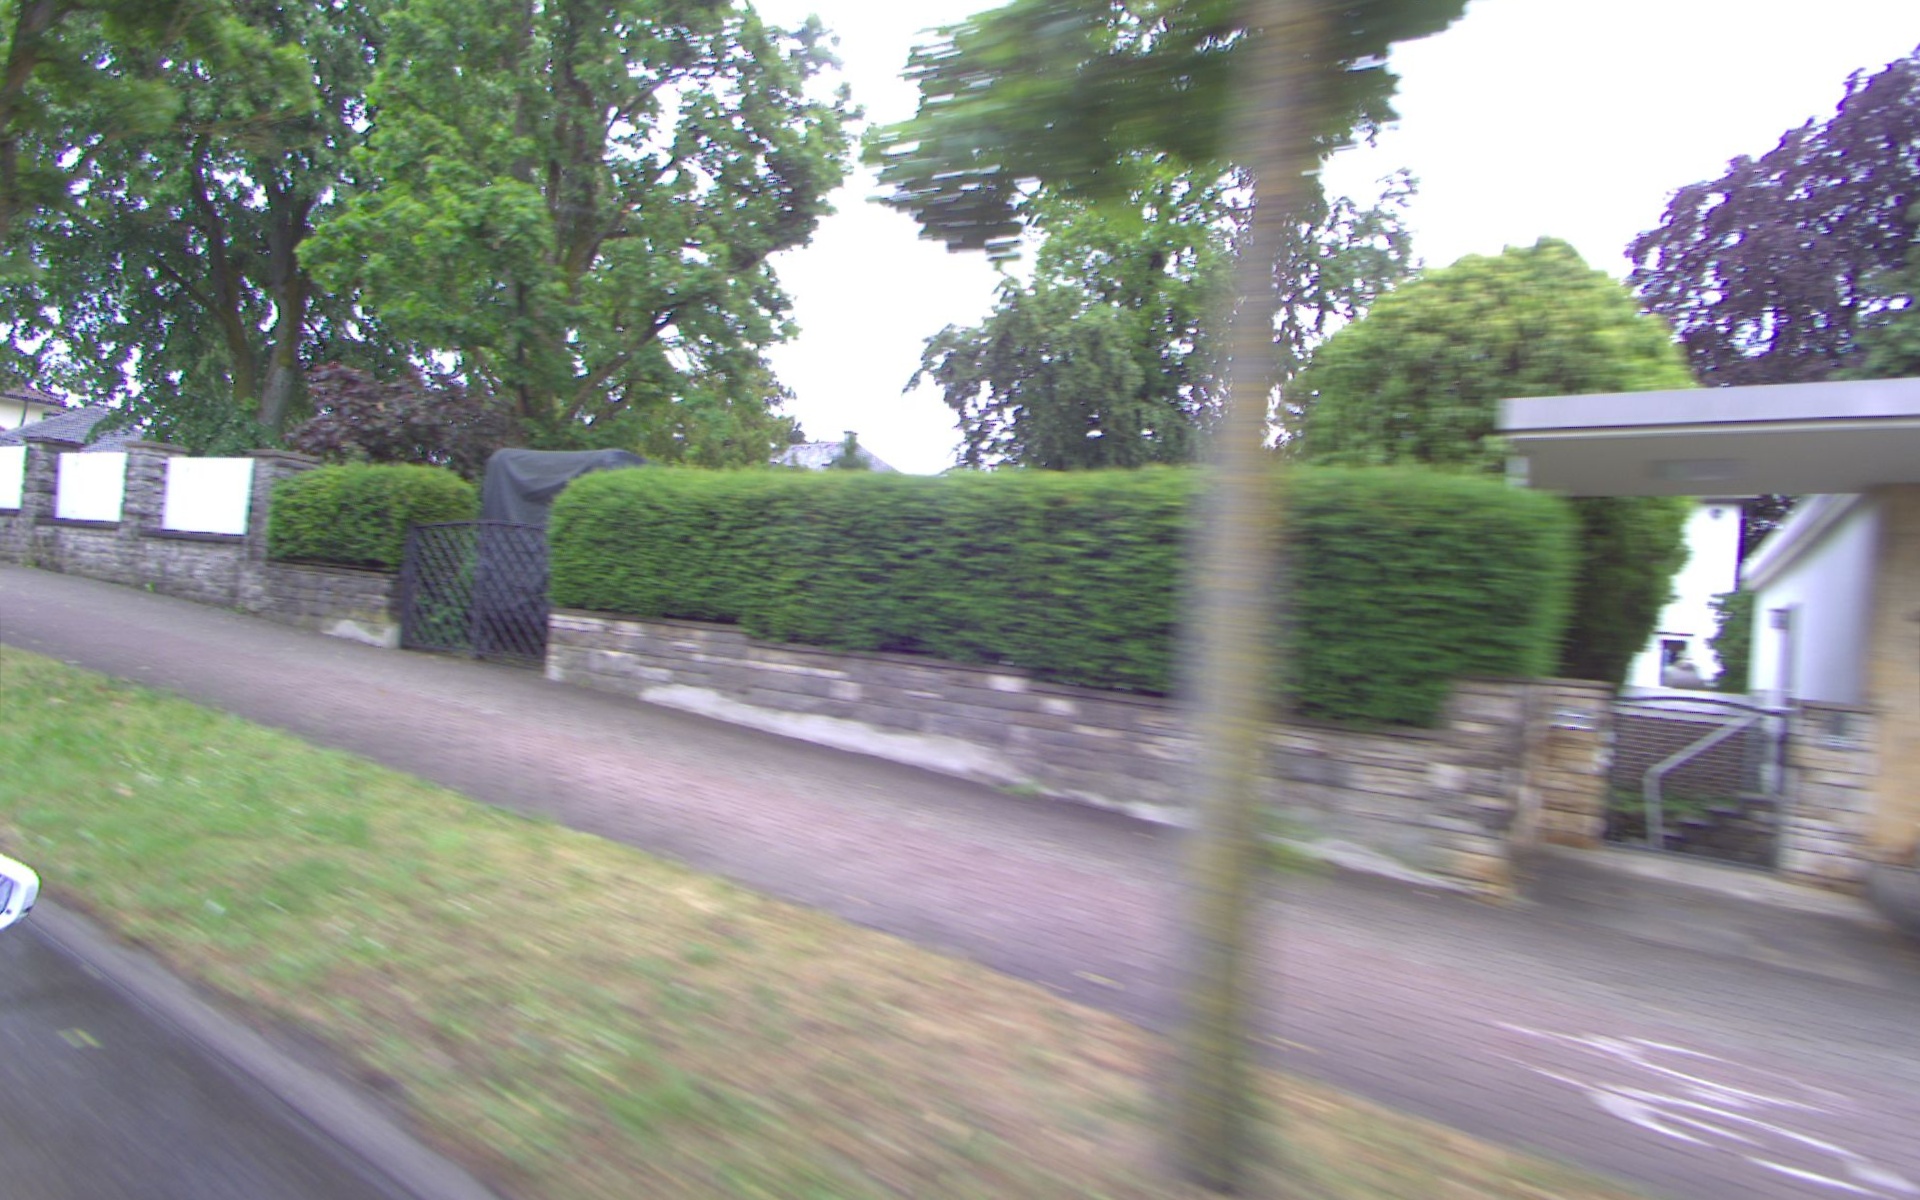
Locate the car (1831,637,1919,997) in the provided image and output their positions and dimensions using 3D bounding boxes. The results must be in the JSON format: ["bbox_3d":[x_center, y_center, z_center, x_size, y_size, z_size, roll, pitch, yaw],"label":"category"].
[{"bbox_3d":[7.249,1.320,4.374,4.862,1.779,1.796,6,-1,32],"label":"car"}]
